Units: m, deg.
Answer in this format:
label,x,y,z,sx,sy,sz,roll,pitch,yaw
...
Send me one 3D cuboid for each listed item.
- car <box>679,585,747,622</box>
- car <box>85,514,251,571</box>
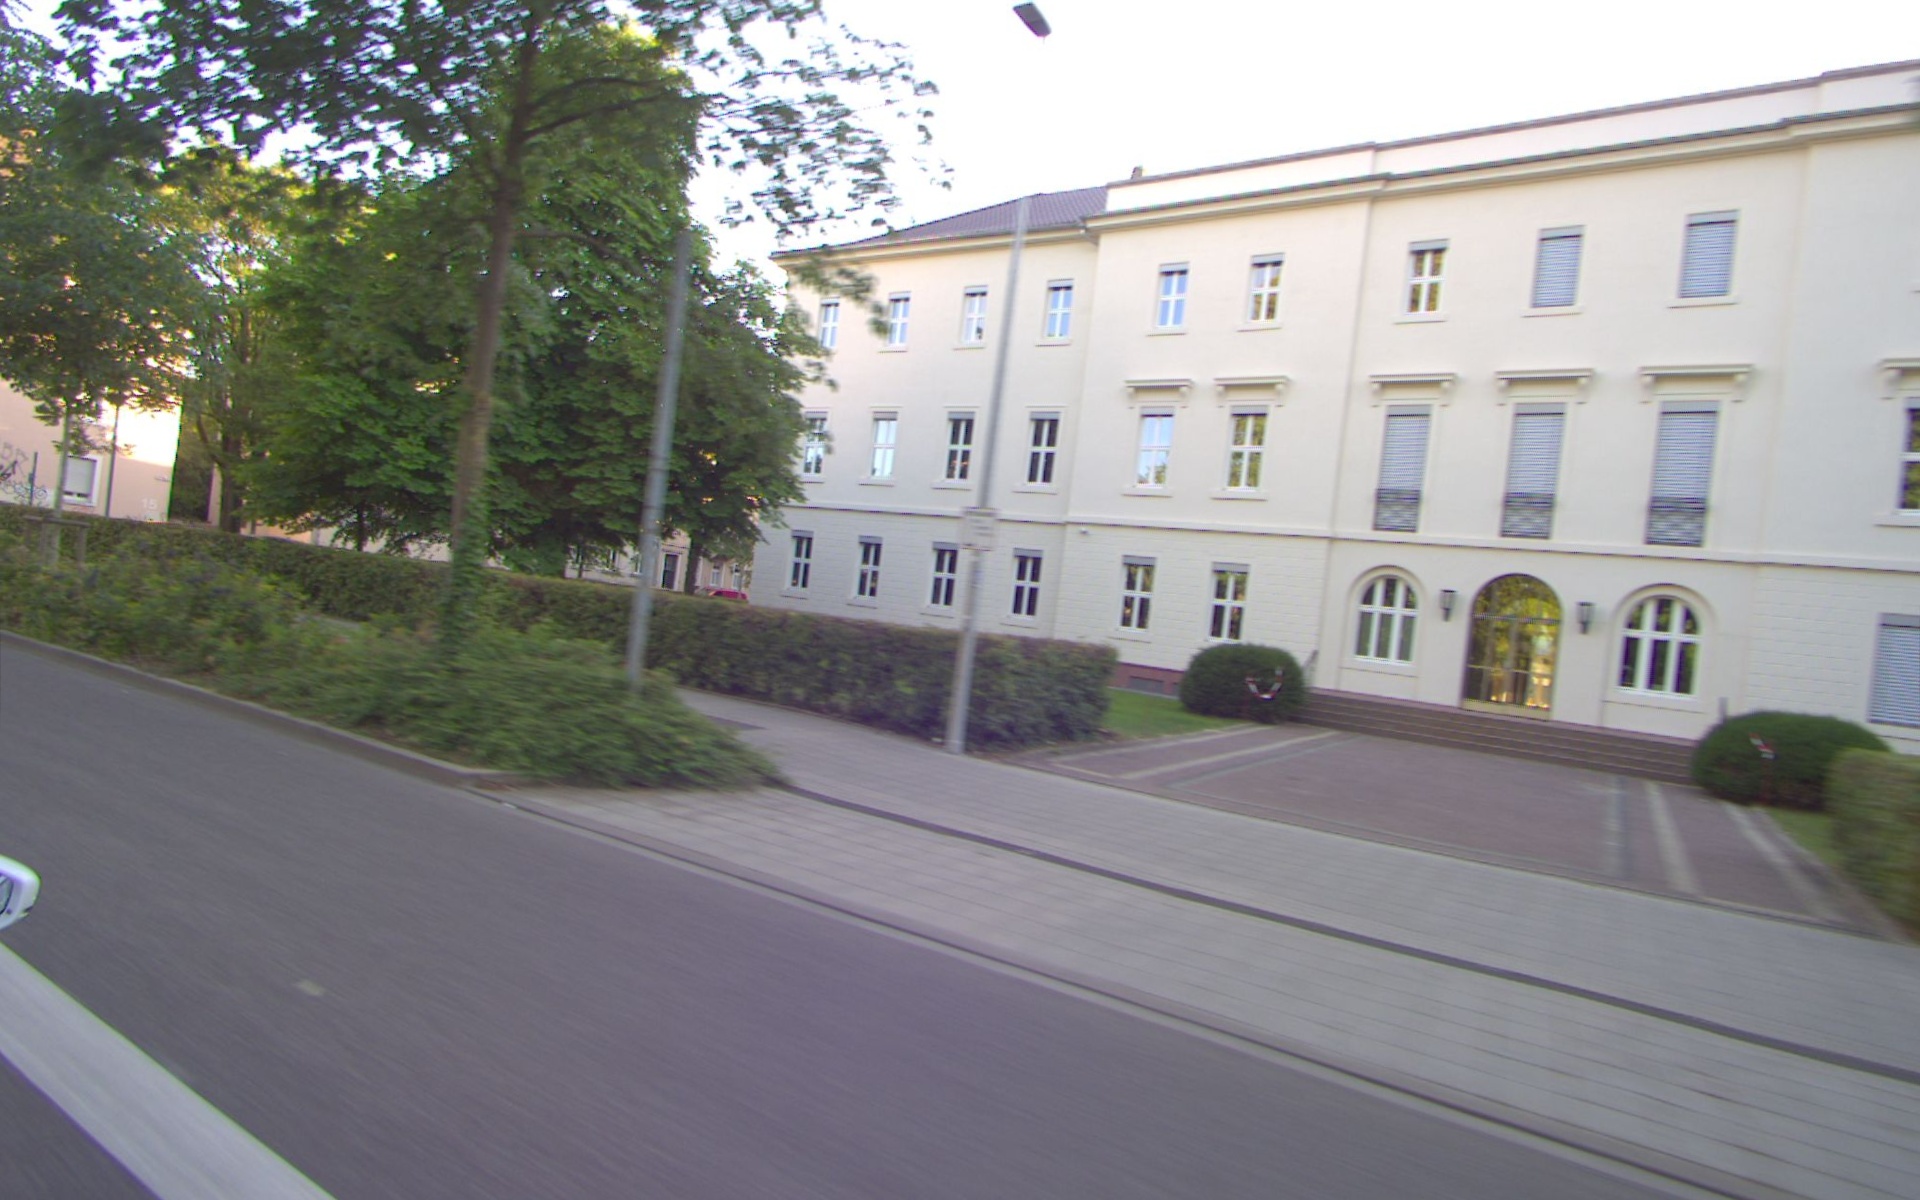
label,x,y,z,sx,sy,sz,roll,pitch,yaw
car,-16.961,0.247,69.212,1.841,2.166,4.243,6,1,33
car,-28.288,-2.017,36.062,1.840,1.500,4.245,6,0,32
